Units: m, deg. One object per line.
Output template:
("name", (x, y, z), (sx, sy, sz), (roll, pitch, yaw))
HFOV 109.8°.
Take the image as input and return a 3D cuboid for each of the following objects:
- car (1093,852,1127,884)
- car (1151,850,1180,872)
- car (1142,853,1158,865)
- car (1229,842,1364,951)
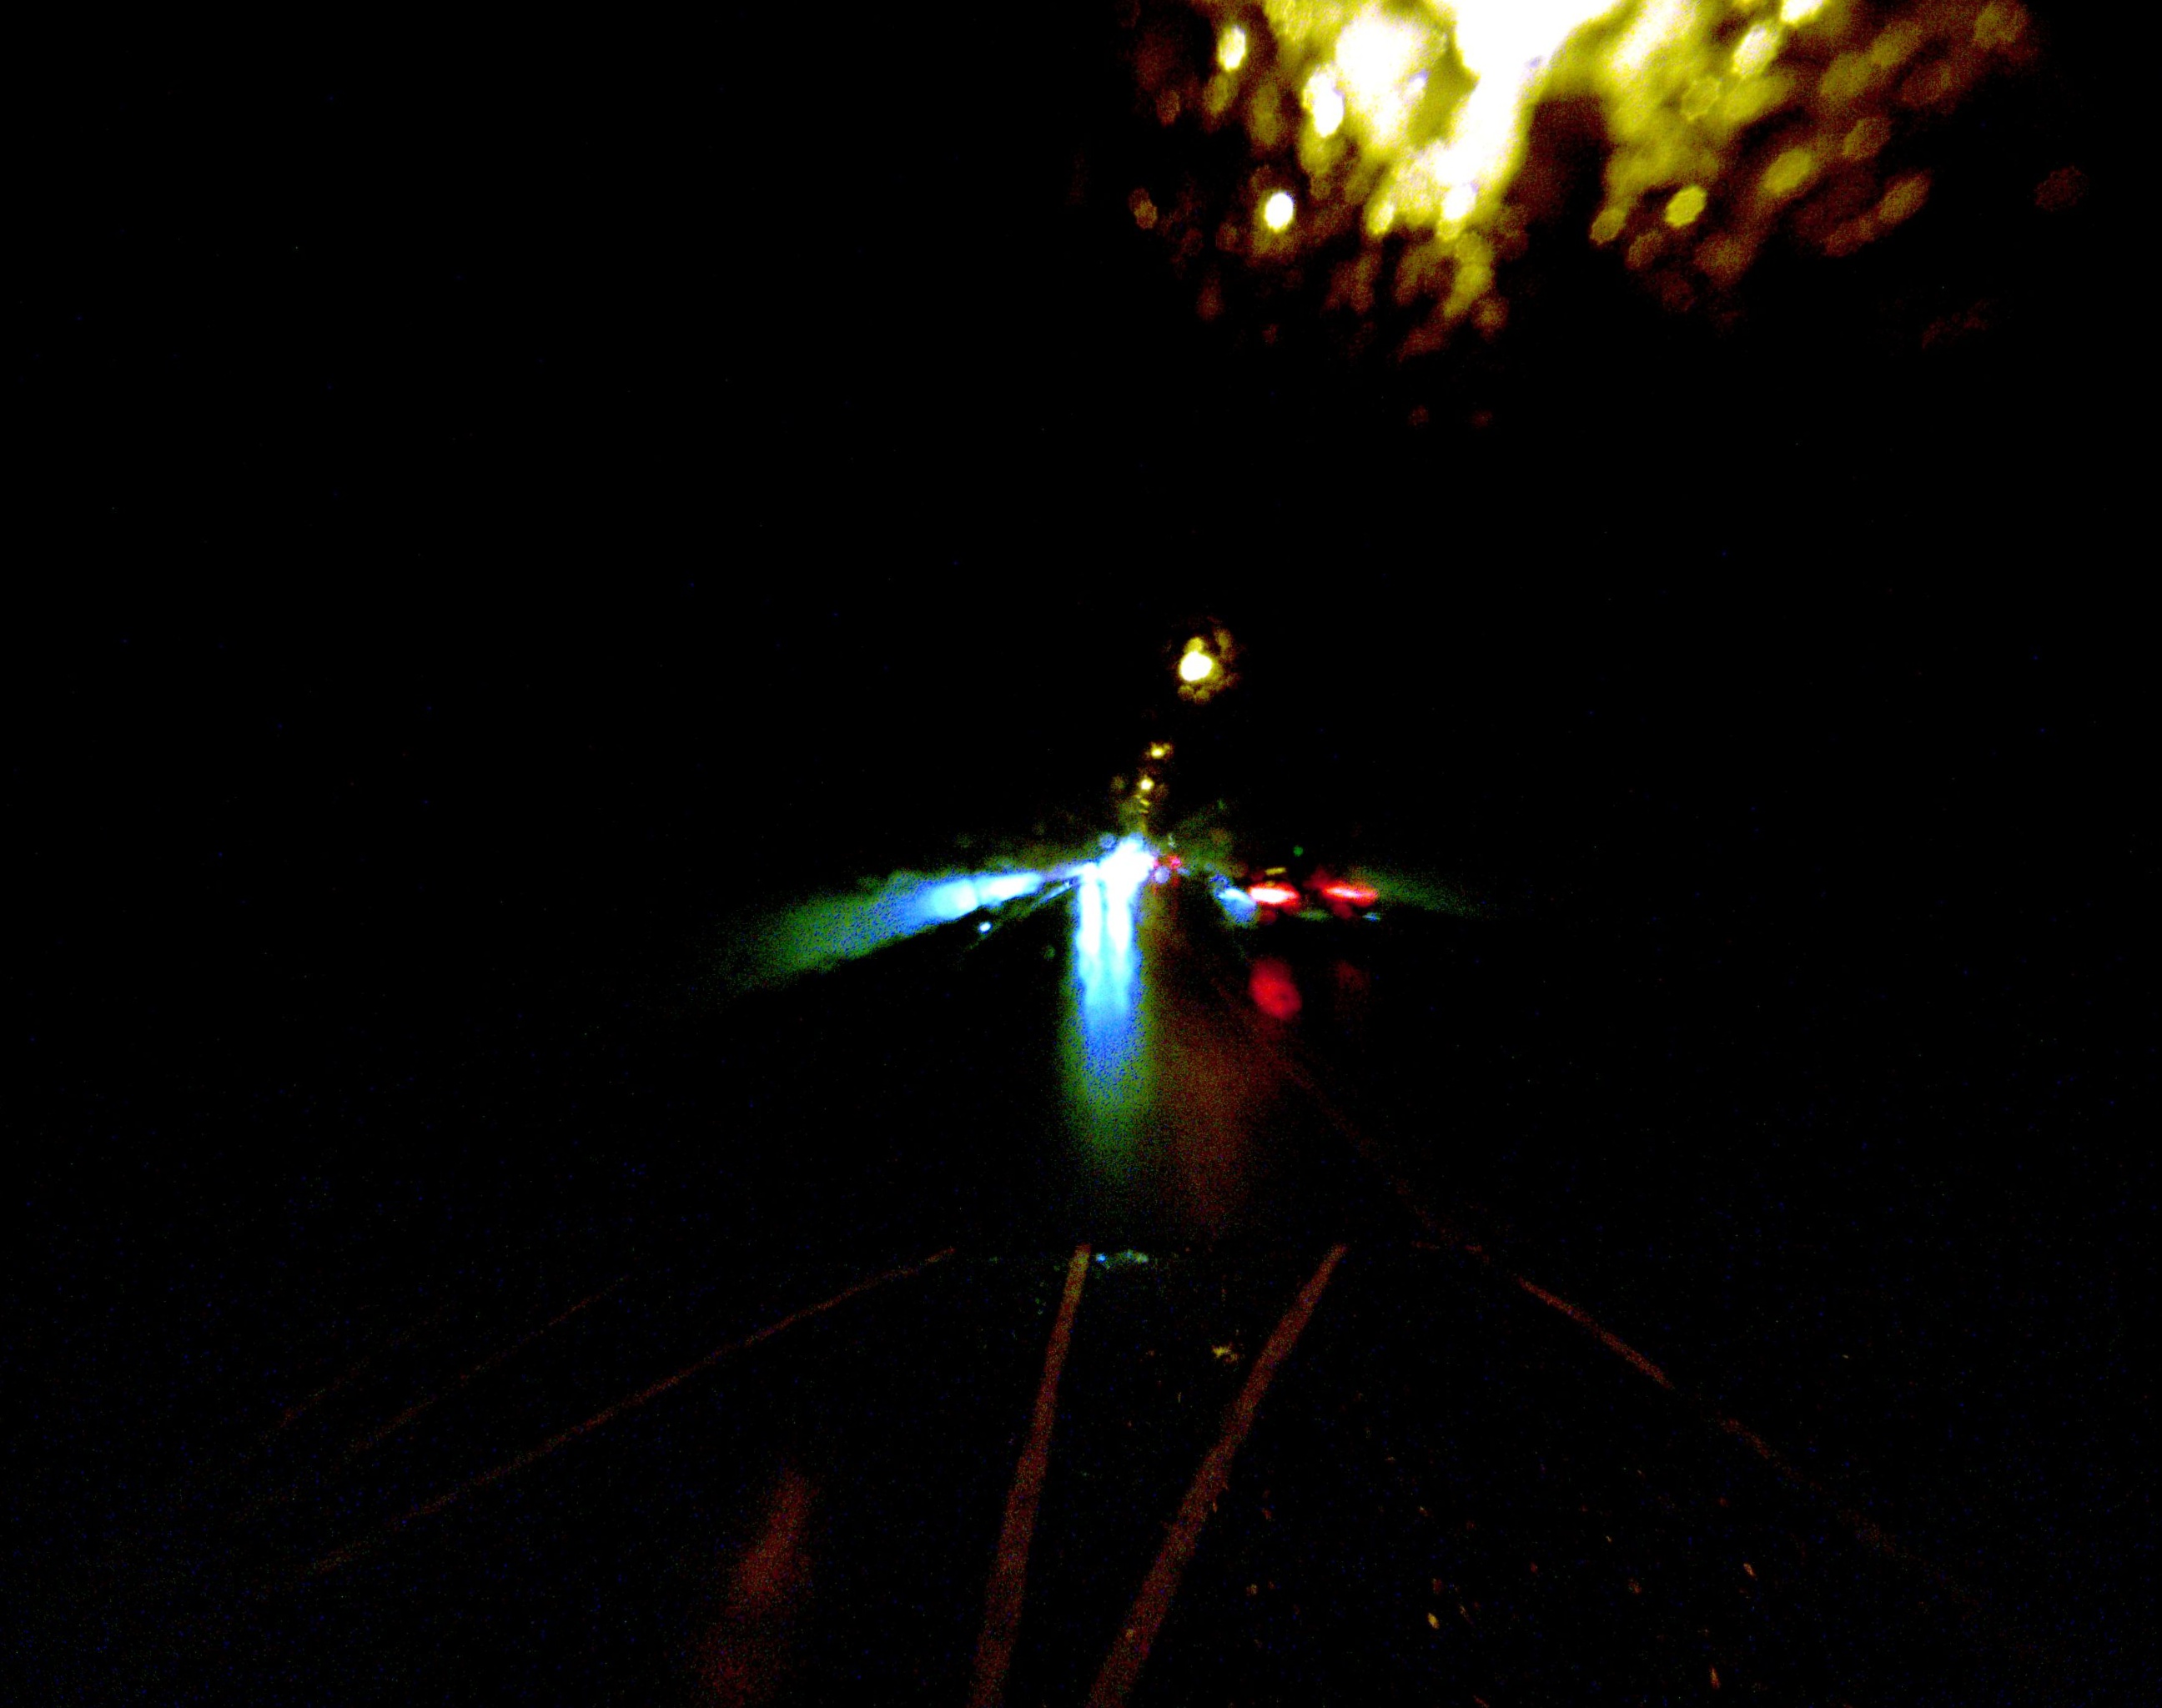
("car", (1.656, 0.744, 43.170), (1.730, 1.595, 4.000), (-4, 0, 3))
("car", (6.346, 0.483, 57.265), (1.660, 1.484, 3.838), (-4, 0, 0))
("car", (9.403, 0.616, 103.304), (1.817, 1.473, 4.201), (-4, 0, 1))
("car", (3.729, 0.657, 13.756), (1.634, 1.640, 3.776), (-2, 0, 5))
